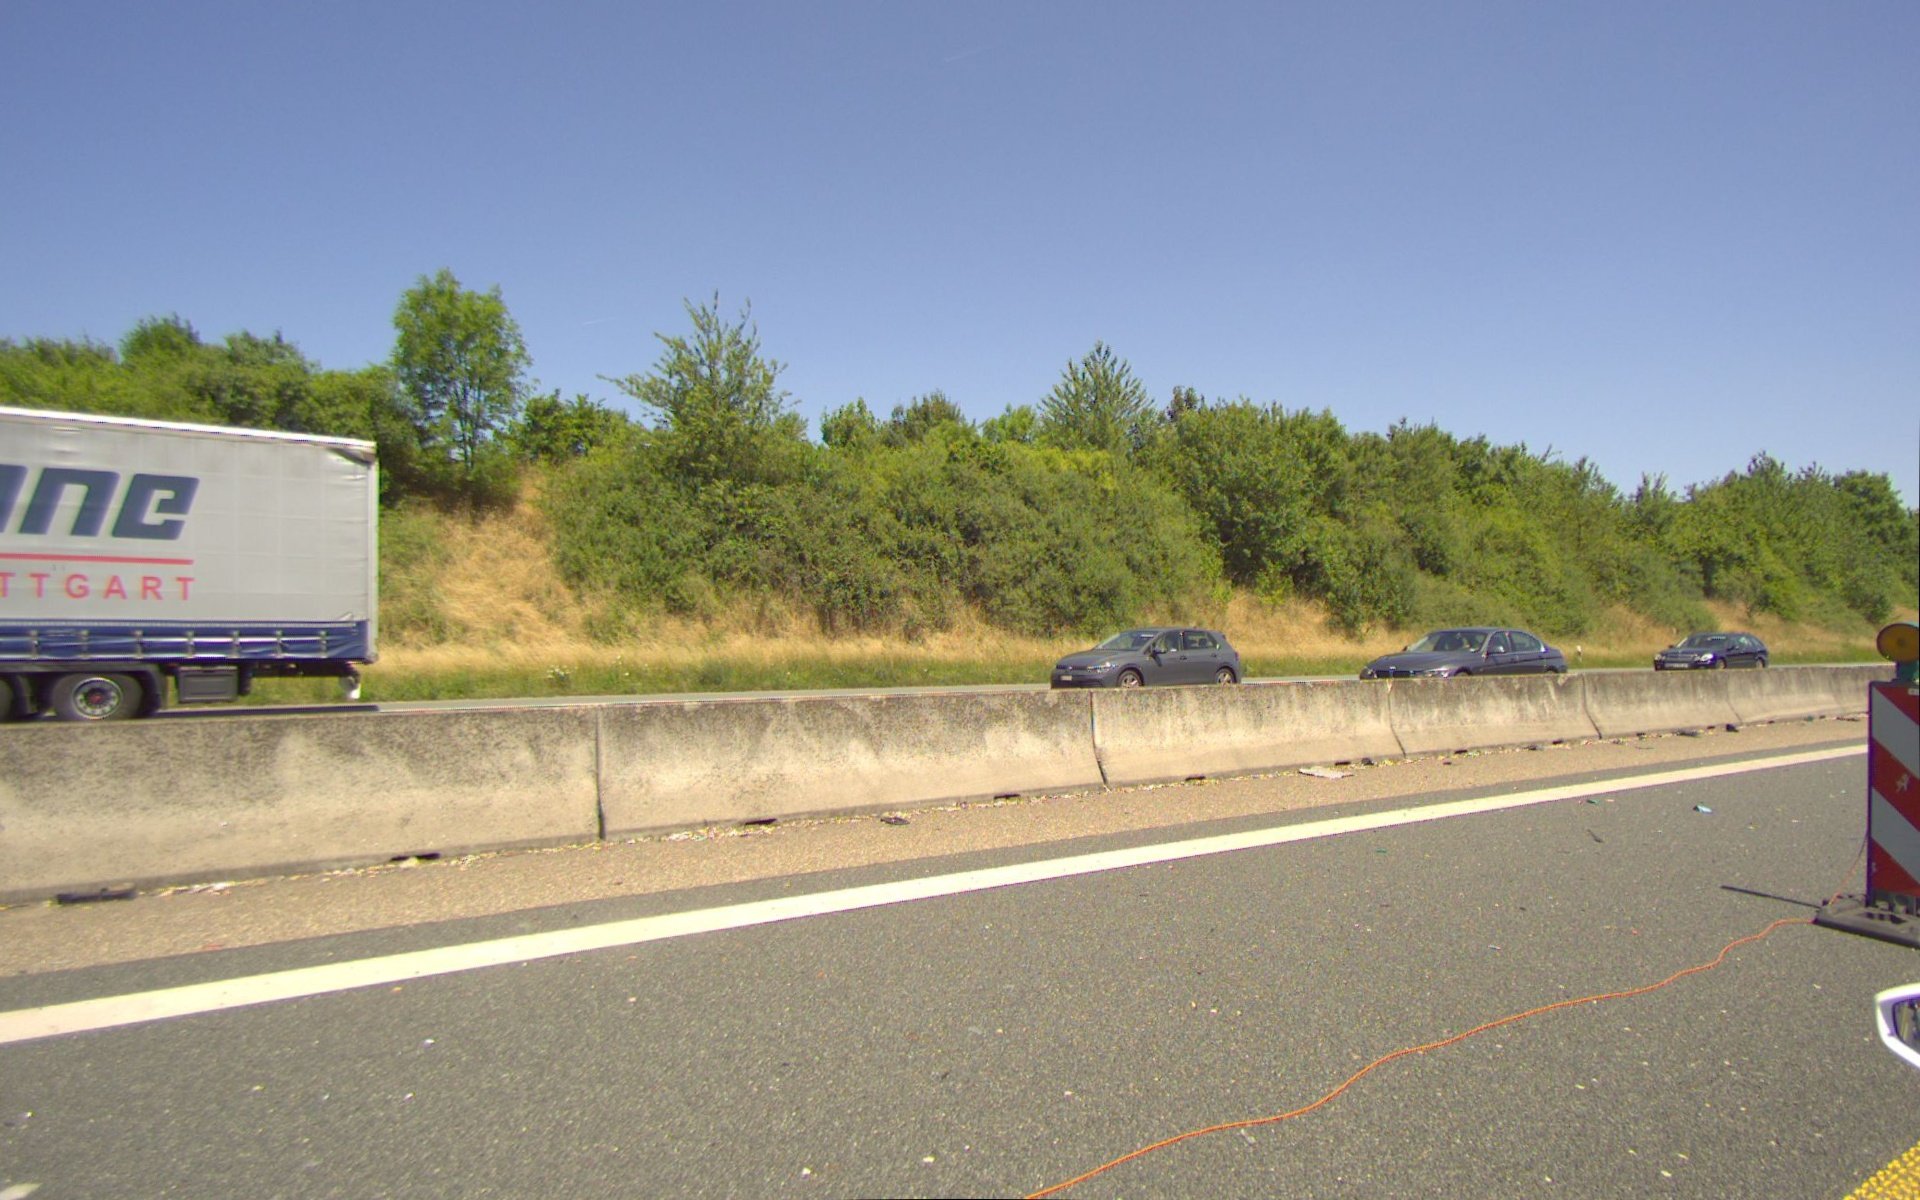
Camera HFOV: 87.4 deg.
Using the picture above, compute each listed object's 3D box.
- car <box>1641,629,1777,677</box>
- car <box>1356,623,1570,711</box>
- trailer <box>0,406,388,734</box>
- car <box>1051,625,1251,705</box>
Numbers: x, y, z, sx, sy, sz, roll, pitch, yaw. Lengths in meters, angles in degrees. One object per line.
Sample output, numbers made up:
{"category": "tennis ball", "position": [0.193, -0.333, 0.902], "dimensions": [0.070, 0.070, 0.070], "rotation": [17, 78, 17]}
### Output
{"category": "car", "position": [24.874, 1.723, 33.331], "dimensions": [4.532, 1.480, 1.984], "rotation": [1, -1, -30]}
{"category": "car", "position": [9.209, 1.165, 18.331], "dimensions": [3.942, 1.461, 1.609], "rotation": [1, -1, -30]}
{"category": "trailer", "position": [-14.938, -0.379, 12.479], "dimensions": [13.488, 4.115, 2.937], "rotation": [1, -3, -33]}
{"category": "car", "position": [3.846, 1.237, 19.974], "dimensions": [4.046, 1.415, 1.494], "rotation": [1, -1, -34]}
